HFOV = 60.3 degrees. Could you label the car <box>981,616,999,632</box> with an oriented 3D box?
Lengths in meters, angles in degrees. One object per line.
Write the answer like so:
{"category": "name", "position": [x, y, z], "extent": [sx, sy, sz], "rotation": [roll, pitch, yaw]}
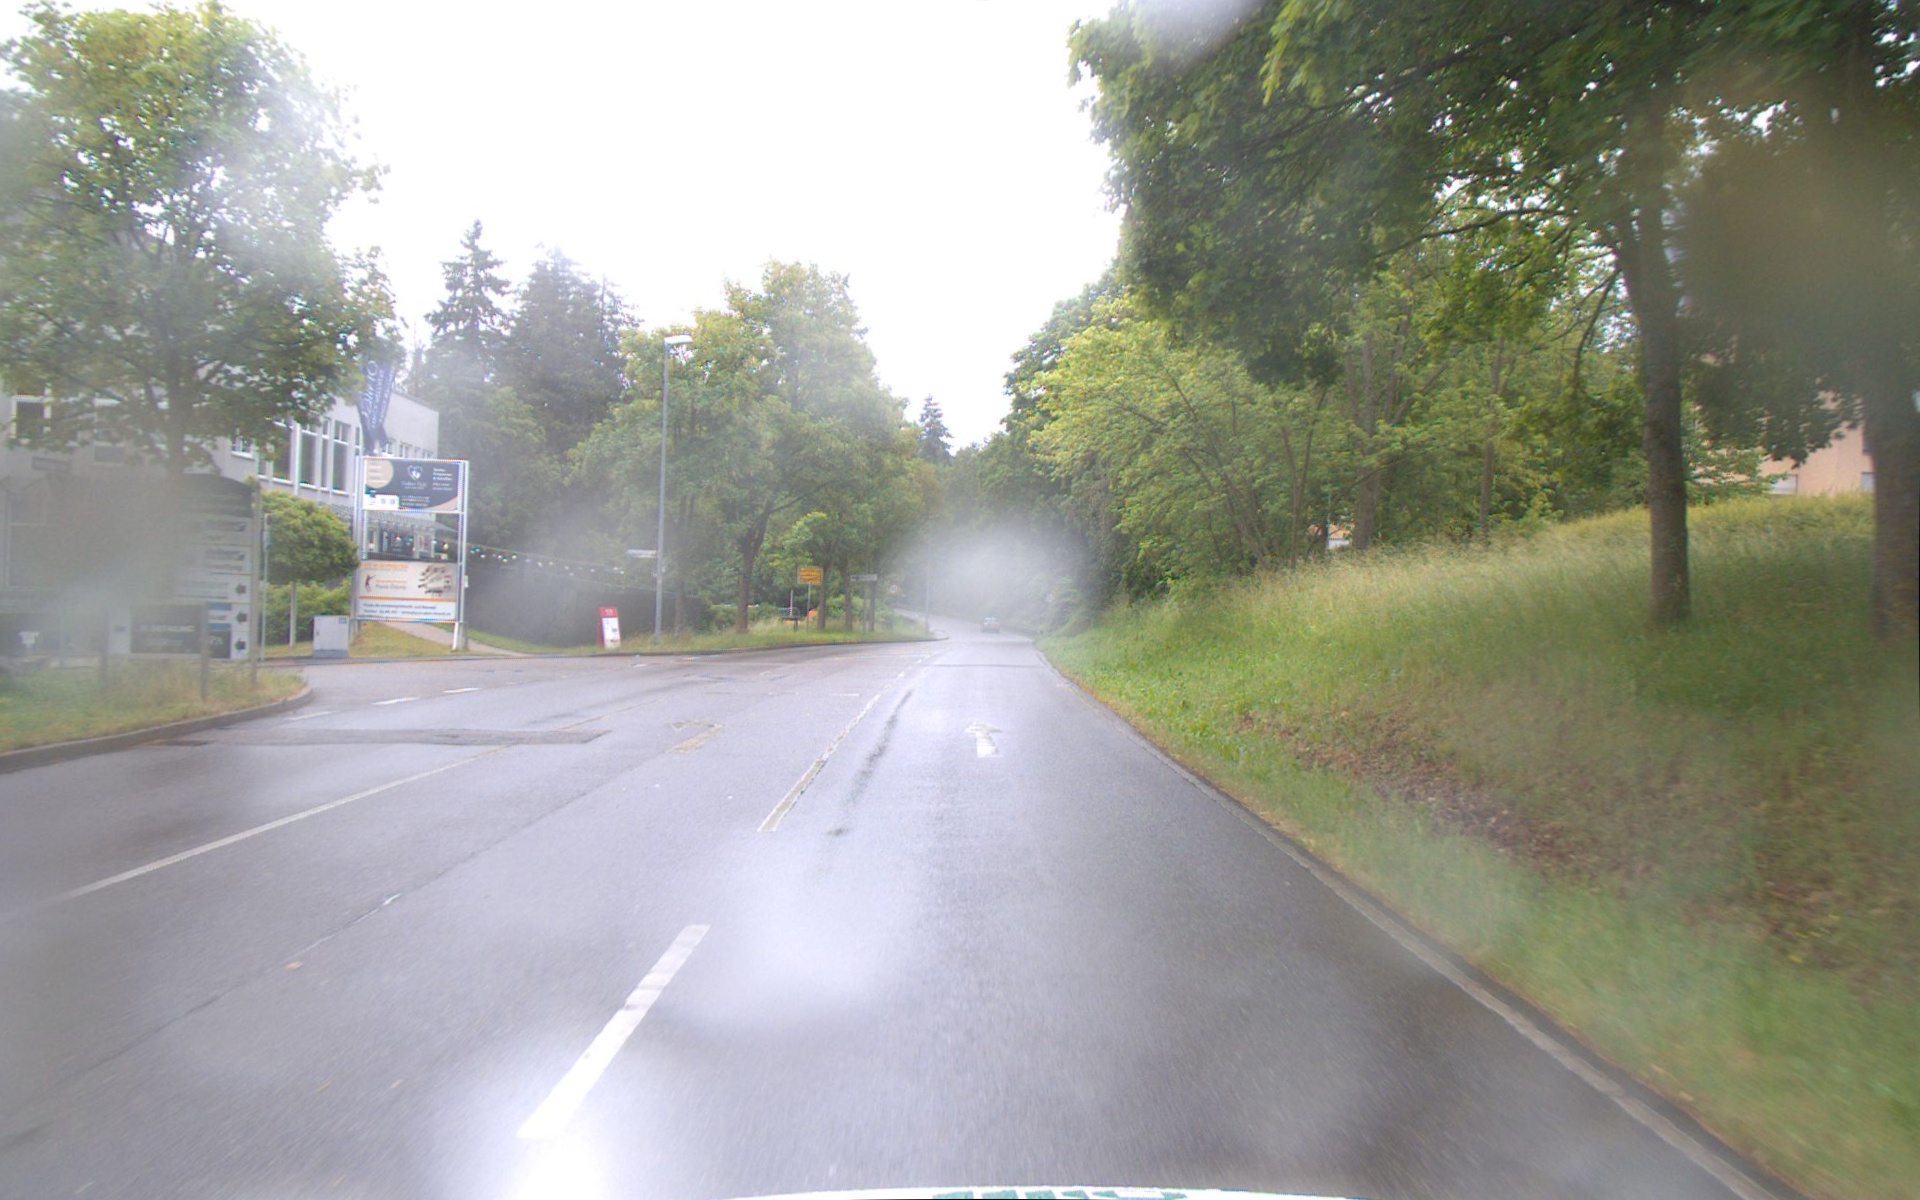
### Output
{"category": "car", "position": [3.037, 2.448, 168.220], "extent": [1.701, 1.537, 4.000], "rotation": [-1, 0, 0]}
